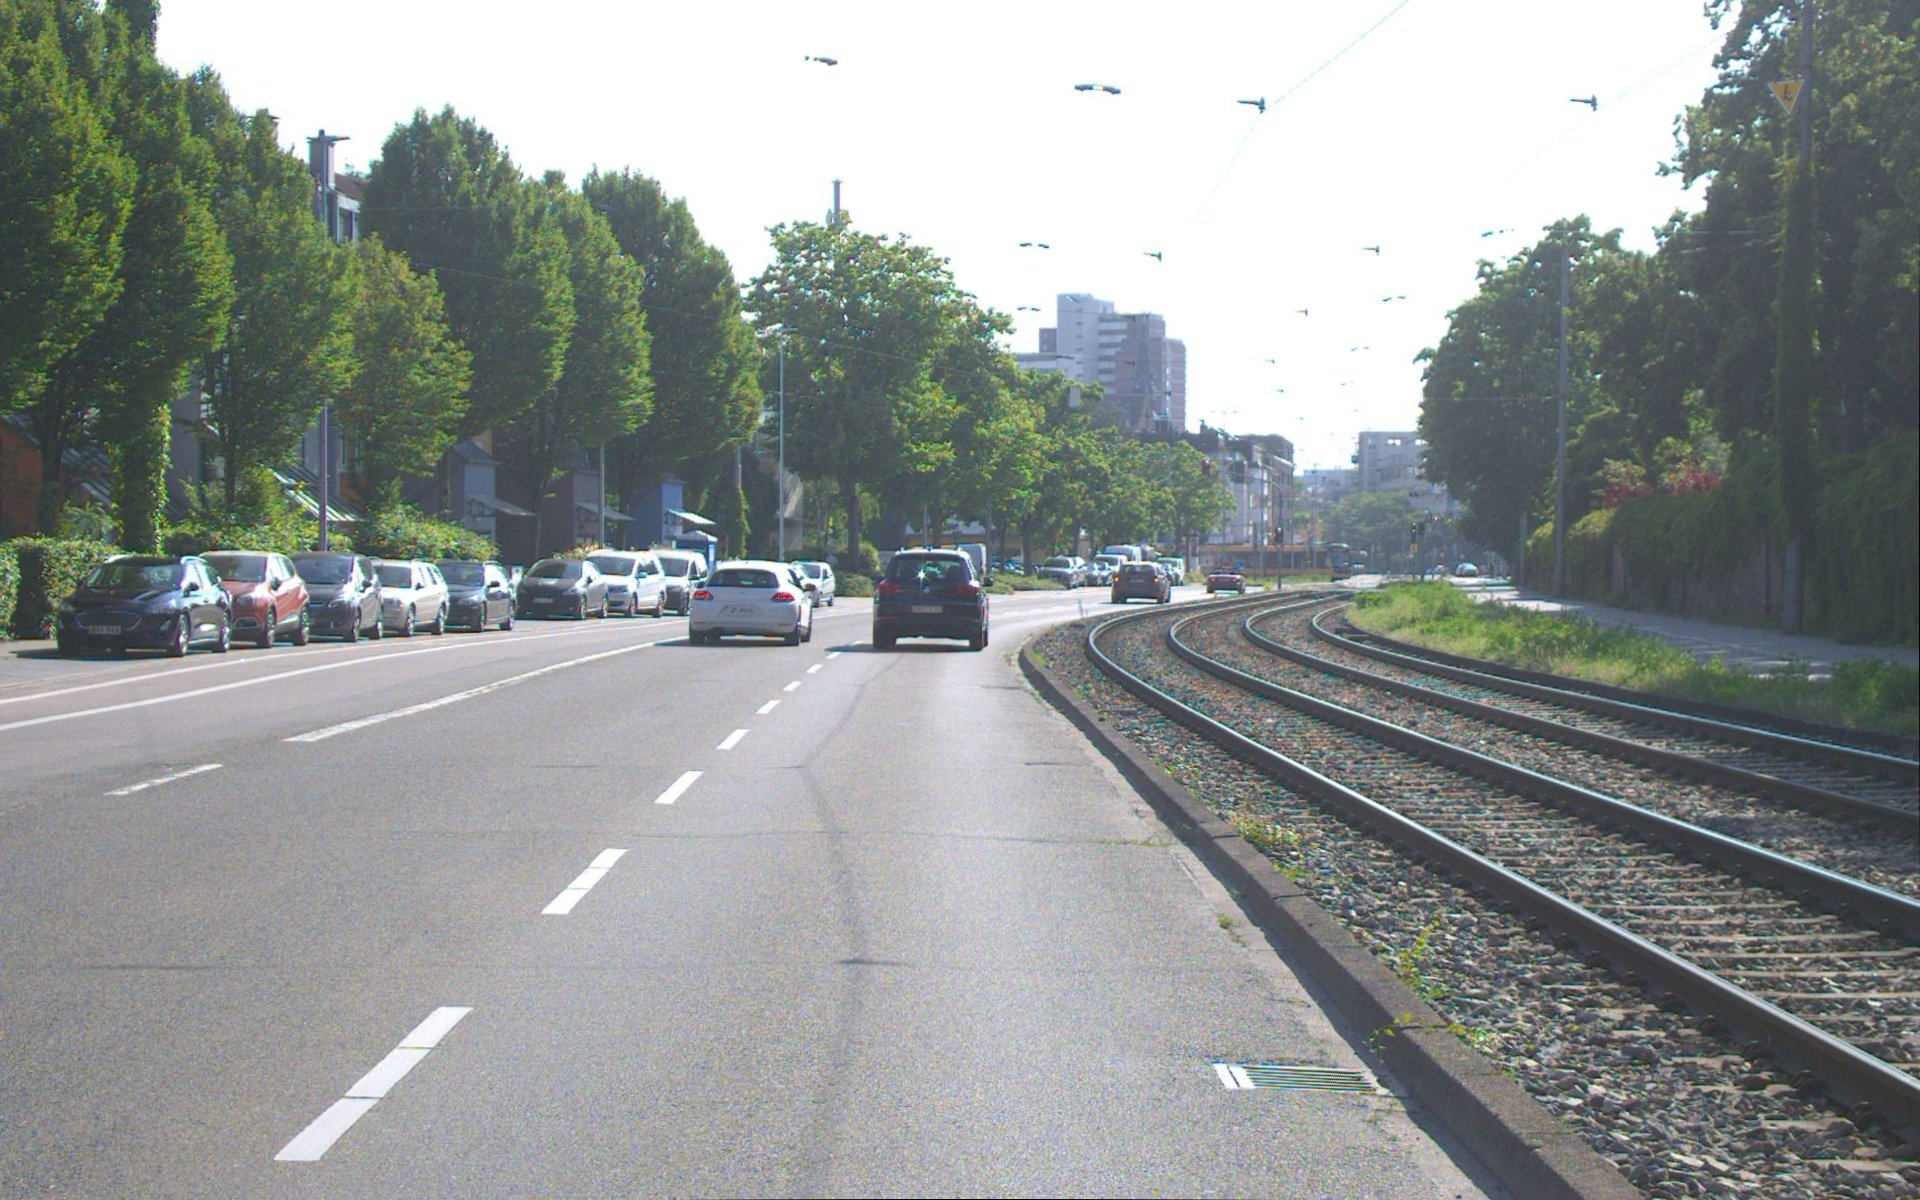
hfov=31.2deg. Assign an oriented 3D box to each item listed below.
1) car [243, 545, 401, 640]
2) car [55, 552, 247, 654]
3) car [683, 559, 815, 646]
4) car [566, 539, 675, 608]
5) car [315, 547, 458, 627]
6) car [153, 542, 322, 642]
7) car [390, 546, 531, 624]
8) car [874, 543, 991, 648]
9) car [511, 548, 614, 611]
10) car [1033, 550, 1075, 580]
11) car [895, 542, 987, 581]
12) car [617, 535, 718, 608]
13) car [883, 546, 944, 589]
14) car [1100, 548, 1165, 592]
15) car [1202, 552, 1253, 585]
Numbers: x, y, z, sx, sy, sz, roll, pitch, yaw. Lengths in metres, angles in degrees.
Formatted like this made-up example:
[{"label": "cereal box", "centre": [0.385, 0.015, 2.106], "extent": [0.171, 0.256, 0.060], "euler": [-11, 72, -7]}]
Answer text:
[{"label": "car", "centre": [-11.536, -0.149, 62.433], "extent": [1.763, 1.568, 4.298], "euler": [3, 1, 4]}, {"label": "car", "centre": [-11.975, 0.015, 51.153], "extent": [1.652, 1.419, 4.713], "euler": [0, 1, 1]}, {"label": "car", "centre": [-3.481, 0.018, 57.354], "extent": [1.865, 1.343, 4.000], "euler": [1, 1, 1]}, {"label": "car", "centre": [-8.888, -0.698, 90.317], "extent": [1.669, 1.695, 4.822], "euler": [2, 1, 8]}, {"label": "car", "centre": [-11.258, -0.248, 67.830], "extent": [1.712, 1.466, 4.844], "euler": [2, 0, 3]}, {"label": "car", "centre": [-11.842, -0.131, 56.590], "extent": [1.762, 1.568, 4.162], "euler": [1, 0, 2]}, {"label": "car", "centre": [-10.655, -0.345, 73.684], "extent": [1.866, 1.539, 4.909], "euler": [3, 1, 5]}, {"label": "car", "centre": [-0.424, -0.096, 56.953], "extent": [1.811, 1.639, 4.000], "euler": [1, 1, 1]}, {"label": "car", "centre": [-9.779, -0.520, 84.823], "extent": [1.616, 1.461, 4.057], "euler": [2, 1, 6]}, {"label": "car", "centre": [5.098, -1.901, 185.933], "extent": [1.732, 1.652, 3.998], "euler": [0, 1, 10]}, {"label": "car", "centre": [-1.177, -2.365, 210.296], "extent": [5.377, 2.415, 2.087], "euler": [0, 1, 9]}, {"label": "car", "centre": [-8.180, -0.817, 96.502], "extent": [1.763, 1.839, 4.579], "euler": [5, 1, 7]}, {"label": "car", "centre": [-1.856, -1.302, 137.806], "extent": [1.712, 1.688, 4.420], "euler": [1, 1, 9]}, {"label": "car", "centre": [5.995, -1.045, 119.113], "extent": [1.812, 1.444, 3.999], "euler": [2, 1, 9]}, {"label": "car", "centre": [12.463, -1.480, 159.766], "extent": [1.812, 1.444, 3.998], "euler": [2, 1, 12]}]
